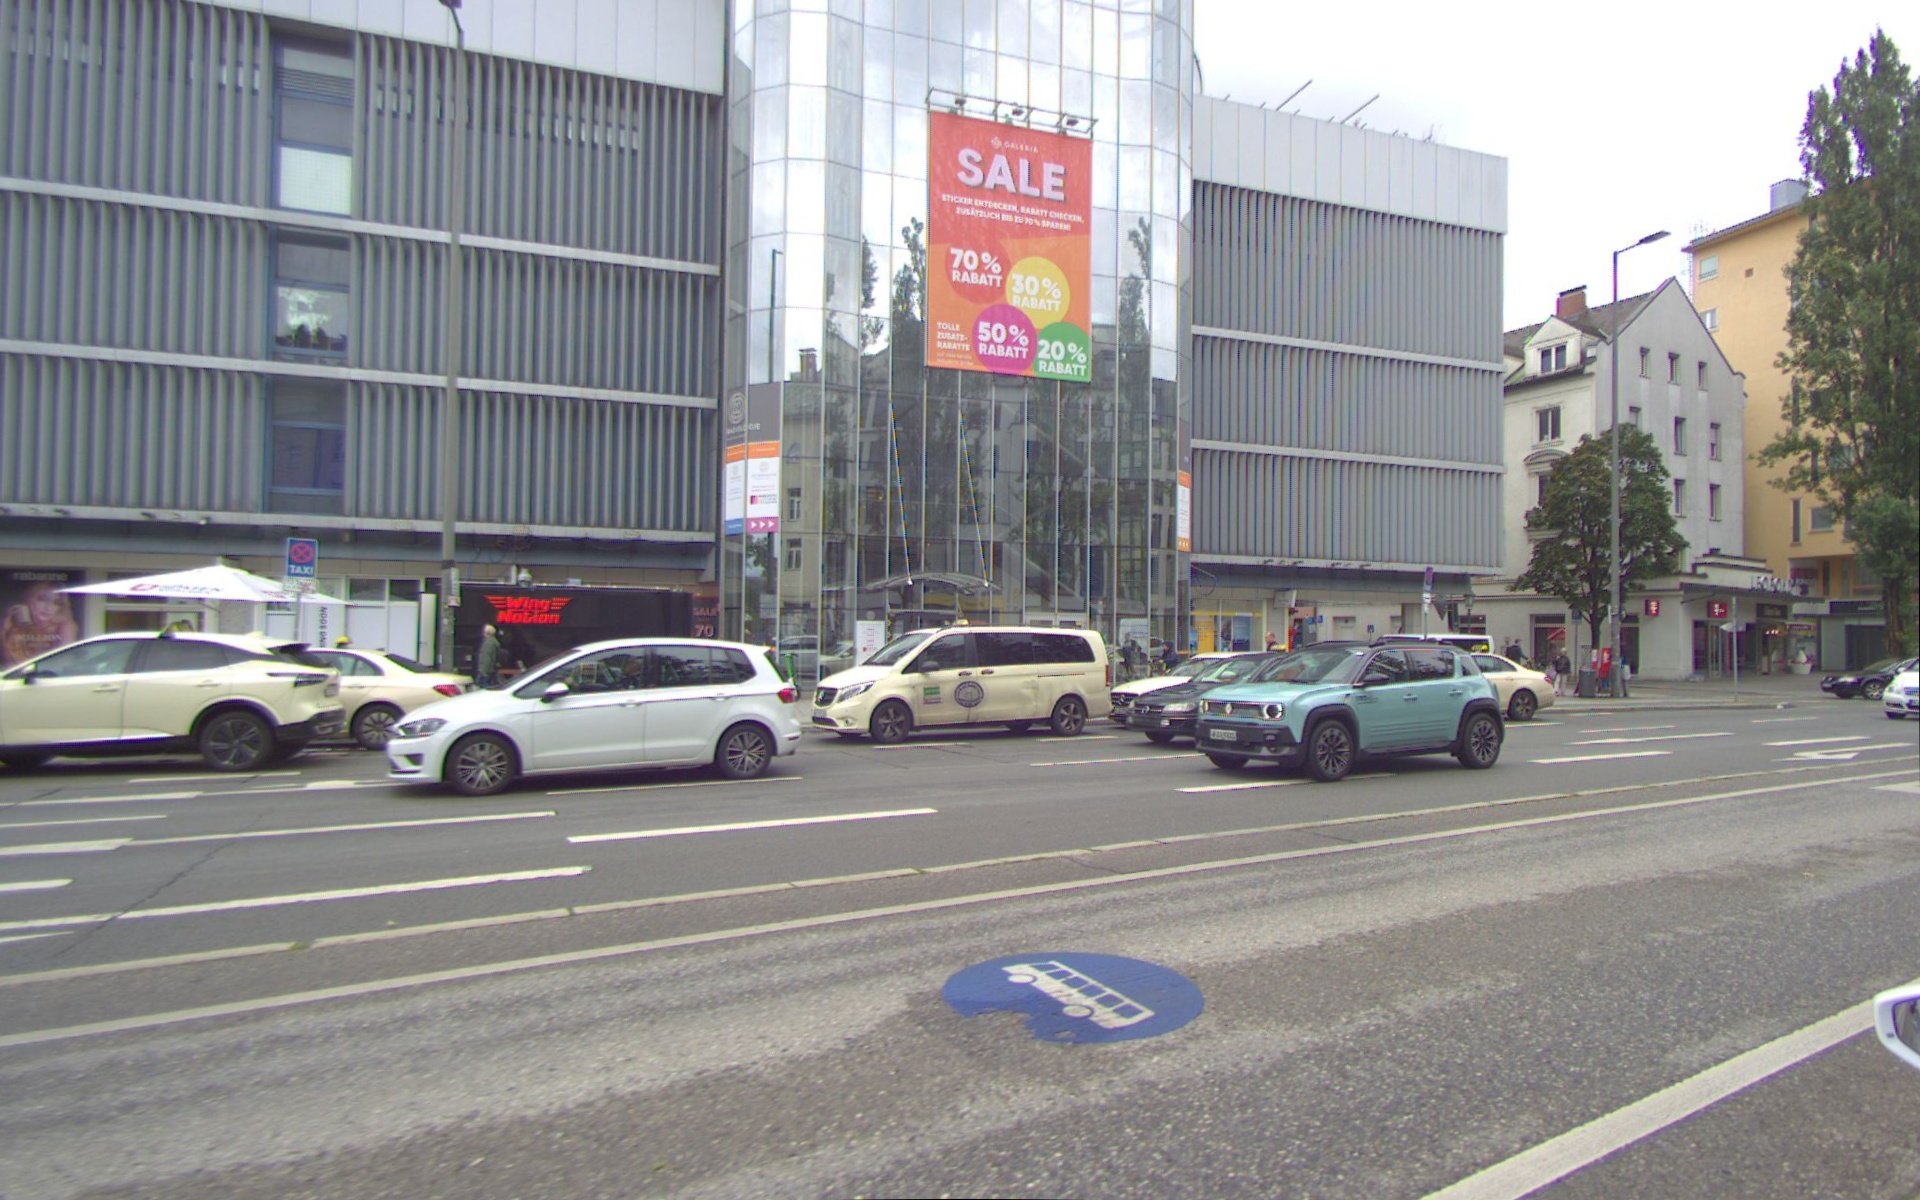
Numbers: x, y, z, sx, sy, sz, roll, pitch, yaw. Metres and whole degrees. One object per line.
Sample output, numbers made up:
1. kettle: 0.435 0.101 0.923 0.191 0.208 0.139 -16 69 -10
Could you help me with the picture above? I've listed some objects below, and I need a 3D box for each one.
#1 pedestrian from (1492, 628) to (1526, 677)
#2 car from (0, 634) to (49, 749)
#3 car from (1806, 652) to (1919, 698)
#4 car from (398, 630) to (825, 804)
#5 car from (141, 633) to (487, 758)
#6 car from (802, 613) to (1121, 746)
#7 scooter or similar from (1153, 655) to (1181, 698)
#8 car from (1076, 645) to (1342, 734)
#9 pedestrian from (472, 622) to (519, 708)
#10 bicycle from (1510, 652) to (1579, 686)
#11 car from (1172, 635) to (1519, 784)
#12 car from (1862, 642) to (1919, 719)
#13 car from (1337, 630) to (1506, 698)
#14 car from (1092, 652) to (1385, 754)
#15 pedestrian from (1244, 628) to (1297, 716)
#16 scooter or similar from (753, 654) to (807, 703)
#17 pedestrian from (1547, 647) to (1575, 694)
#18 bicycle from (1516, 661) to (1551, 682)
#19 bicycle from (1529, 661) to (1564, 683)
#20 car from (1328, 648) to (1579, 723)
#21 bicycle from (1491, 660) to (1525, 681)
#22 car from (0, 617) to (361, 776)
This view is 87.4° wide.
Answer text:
1. pedestrian: 21.827 2.093 39.920 0.818 1.923 0.859 1 -2 -9
2. car: -14.971 1.214 13.261 3.943 1.556 1.749 1 -2 -23
3. car: 31.458 2.483 33.582 4.421 1.458 1.928 -1 -3 23
4. car: -3.869 1.187 11.328 4.237 1.621 1.985 2 -3 -29
5. car: -9.245 1.340 14.800 3.941 1.637 1.769 2 -2 -22
6. car: 0.090 1.332 17.459 5.255 2.040 1.986 2 -3 -28
7. scooter or similar: 5.843 2.143 28.328 0.991 1.188 0.251 2 -3 -44
8. car: 4.950 1.694 19.858 5.018 1.572 1.972 2 -3 -26
9. pedestrian: -10.180 1.416 22.024 0.805 1.828 0.788 1 -2 -18
10. bicycle: 22.730 2.682 39.081 2.260 1.325 0.849 1 -2 -5
11. car: 4.739 1.257 12.329 3.949 1.565 1.811 2 -4 -28
12. car: 22.025 1.750 21.993 3.945 1.610 1.948 2 -2 -24
13. car: 14.660 2.000 31.921 5.037 2.040 1.990 1 -2 -22
14. car: 4.519 1.562 16.137 4.628 1.427 1.723 1 -2 -27
15. pedestrian: 6.821 1.568 22.088 0.839 1.891 0.780 2 -2 -37
16. scooter or similar: -4.370 1.887 24.417 0.362 1.155 1.375 -1 -3 40
17. pedestrian: 19.800 2.313 33.090 0.647 1.514 0.543 1 -2 -26
18. bicycle: 27.318 3.405 47.809 1.855 0.976 0.457 2 -2 -25
19. bicycle: 27.636 3.377 47.294 1.855 0.976 0.457 2 -2 -25
20. car: 10.654 1.814 21.757 4.901 1.488 1.857 1 -4 -17
21. bicycle: 26.505 3.392 48.566 1.855 0.976 0.457 2 -2 -25
22. car: -9.915 1.118 12.076 4.316 1.720 1.883 1 -3 -20
